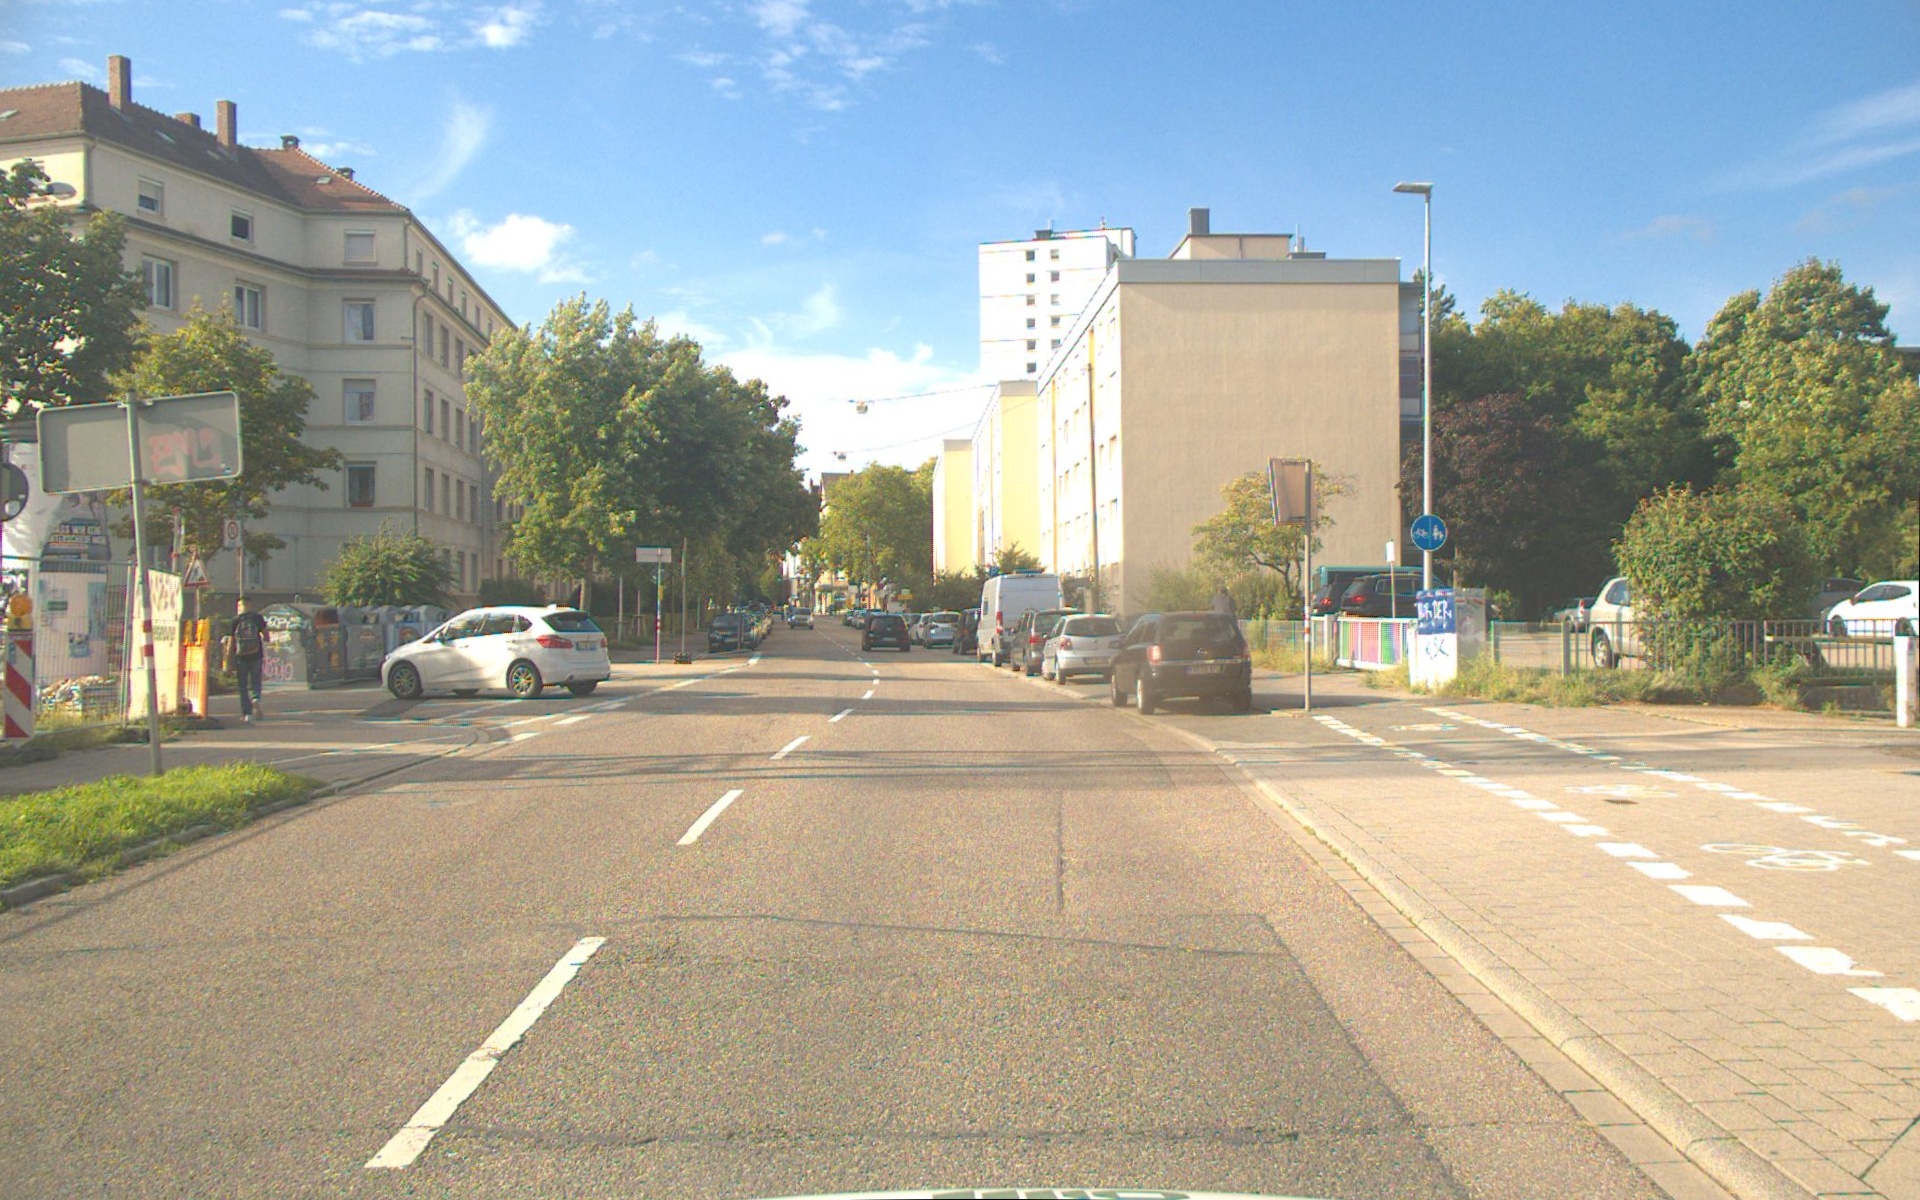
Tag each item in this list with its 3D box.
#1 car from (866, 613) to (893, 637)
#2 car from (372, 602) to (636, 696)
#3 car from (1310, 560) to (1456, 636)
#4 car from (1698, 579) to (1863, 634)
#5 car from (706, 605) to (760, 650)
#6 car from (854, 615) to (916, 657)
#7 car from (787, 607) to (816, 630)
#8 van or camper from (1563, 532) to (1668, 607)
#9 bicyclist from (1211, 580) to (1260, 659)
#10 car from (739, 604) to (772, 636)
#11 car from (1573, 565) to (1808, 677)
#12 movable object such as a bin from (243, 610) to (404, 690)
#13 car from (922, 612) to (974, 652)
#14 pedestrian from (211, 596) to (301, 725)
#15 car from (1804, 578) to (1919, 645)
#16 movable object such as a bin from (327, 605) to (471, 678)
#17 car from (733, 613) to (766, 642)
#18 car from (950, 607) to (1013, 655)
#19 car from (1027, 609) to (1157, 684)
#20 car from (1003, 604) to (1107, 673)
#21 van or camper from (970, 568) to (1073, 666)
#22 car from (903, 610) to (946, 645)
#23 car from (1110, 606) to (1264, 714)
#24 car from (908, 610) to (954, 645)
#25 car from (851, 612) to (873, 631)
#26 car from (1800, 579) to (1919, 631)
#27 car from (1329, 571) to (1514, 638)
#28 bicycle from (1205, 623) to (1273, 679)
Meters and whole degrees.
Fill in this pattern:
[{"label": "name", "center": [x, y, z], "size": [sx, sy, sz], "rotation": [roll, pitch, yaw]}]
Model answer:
[{"label": "car", "center": [-6.130, 1.888, 125.534], "size": [1.954, 1.713, 3.997], "rotation": [-1, 0, -4]}, {"label": "car", "center": [-8.105, 0.843, 29.445], "size": [4.173, 1.582, 2.000], "rotation": [0, -1, 22]}, {"label": "car", "center": [13.160, -0.045, 51.630], "size": [4.034, 2.224, 2.000], "rotation": [-1, 0, 0]}, {"label": "car", "center": [24.494, 0.188, 49.462], "size": [3.908, 1.512, 1.998], "rotation": [-1, 0, -4]}, {"label": "car", "center": [-8.843, 1.048, 64.236], "size": [1.957, 1.668, 3.991], "rotation": [-1, 0, -9]}, {"label": "car", "center": [-2.932, 1.368, 63.880], "size": [1.957, 1.598, 3.991], "rotation": [0, -1, -9]}, {"label": "car", "center": [-12.658, 1.460, 131.761], "size": [2.018, 1.692, 3.918], "rotation": [-2, 0, -9]}, {"label": "van or camper", "center": [27.836, -1.243, 70.419], "size": [2.282, 2.925, 5.120], "rotation": [-3, 0, 0]}, {"label": "bicyclist", "center": [5.584, 0.402, 33.563], "size": [0.722, 1.540, 0.874], "rotation": [-3, -1, -3]}, {"label": "car", "center": [-13.656, 1.312, 110.617], "size": [1.954, 2.049, 3.997], "rotation": [-1, 0, -4]}, {"label": "car", "center": [12.082, 0.333, 27.671], "size": [1.953, 1.695, 4.150], "rotation": [-1, 0, -2]}, {"label": "movable object such as a bin", "center": [-14.490, 1.122, 37.702], "size": [3.037, 1.738, 1.549], "rotation": [0, -1, 12]}, {"label": "car", "center": [-0.549, 1.318, 69.693], "size": [1.954, 1.601, 3.997], "rotation": [-1, 0, -4]}, {"label": "pedestrian", "center": [-9.881, 0.843, 23.259], "size": [0.990, 1.758, 1.173], "rotation": [0, -2, -15]}, {"label": "car", "center": [21.636, 0.241, 38.046], "size": [1.957, 1.467, 3.991], "rotation": [-1, 0, -10]}, {"label": "movable object such as a bin", "center": [-13.771, 1.015, 40.648], "size": [3.037, 1.738, 1.411], "rotation": [0, -1, 11]}, {"label": "car", "center": [-12.027, 1.568, 94.314], "size": [1.773, 1.588, 3.426], "rotation": [-2, 0, -9]}, {"label": "car", "center": [0.742, 1.088, 59.299], "size": [1.954, 1.601, 3.997], "rotation": [-1, 0, -4]}, {"label": "car", "center": [2.876, 1.016, 37.087], "size": [1.977, 1.500, 4.795], "rotation": [-2, -1, -7]}, {"label": "car", "center": [2.372, 0.949, 42.406], "size": [1.955, 1.644, 4.402], "rotation": [-1, 0, -6]}, {"label": "van or camper", "center": [1.722, 0.482, 48.418], "size": [2.167, 2.653, 5.363], "rotation": [-1, 0, -7]}, {"label": "car", "center": [-1.770, 1.347, 82.252], "size": [1.954, 1.601, 3.997], "rotation": [-1, 0, -4]}, {"label": "car", "center": [3.441, 0.891, 25.809], "size": [1.683, 1.522, 4.266], "rotation": [-1, -1, -2]}, {"label": "car", "center": [-1.376, 1.279, 77.532], "size": [1.954, 1.557, 3.997], "rotation": [-1, 0, -4]}, {"label": "car", "center": [-9.259, 2.041, 156.370], "size": [1.953, 1.786, 3.998], "rotation": [0, -1, -2]}, {"label": "car", "center": [25.086, 0.152, 44.574], "size": [3.904, 1.333, 2.000], "rotation": [0, -1, 2]}, {"label": "car", "center": [12.268, 0.120, 44.180], "size": [4.357, 1.650, 2.000], "rotation": [-1, 0, 1]}, {"label": "bicycle", "center": [5.617, 1.008, 33.508], "size": [0.725, 1.053, 2.760], "rotation": [-3, -1, -3]}]
